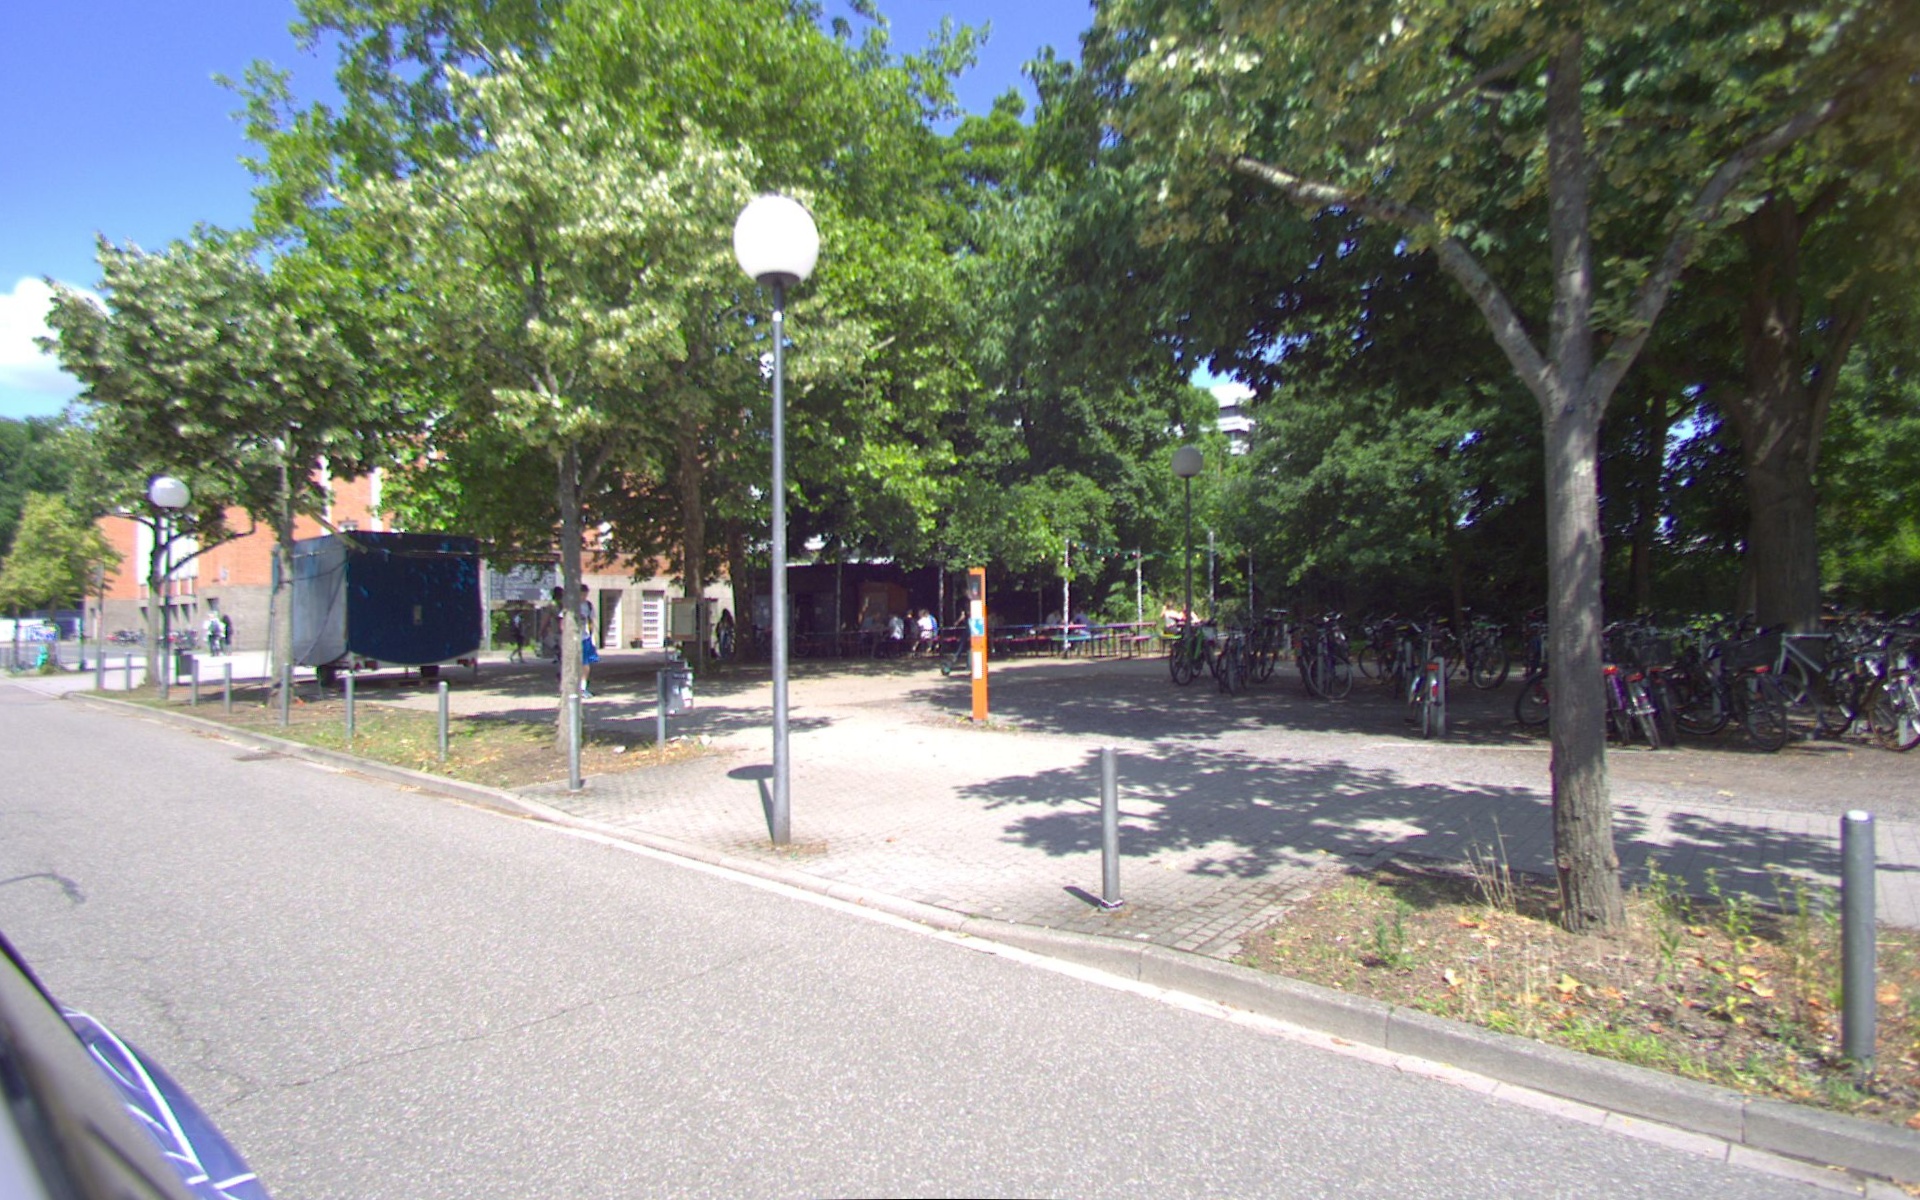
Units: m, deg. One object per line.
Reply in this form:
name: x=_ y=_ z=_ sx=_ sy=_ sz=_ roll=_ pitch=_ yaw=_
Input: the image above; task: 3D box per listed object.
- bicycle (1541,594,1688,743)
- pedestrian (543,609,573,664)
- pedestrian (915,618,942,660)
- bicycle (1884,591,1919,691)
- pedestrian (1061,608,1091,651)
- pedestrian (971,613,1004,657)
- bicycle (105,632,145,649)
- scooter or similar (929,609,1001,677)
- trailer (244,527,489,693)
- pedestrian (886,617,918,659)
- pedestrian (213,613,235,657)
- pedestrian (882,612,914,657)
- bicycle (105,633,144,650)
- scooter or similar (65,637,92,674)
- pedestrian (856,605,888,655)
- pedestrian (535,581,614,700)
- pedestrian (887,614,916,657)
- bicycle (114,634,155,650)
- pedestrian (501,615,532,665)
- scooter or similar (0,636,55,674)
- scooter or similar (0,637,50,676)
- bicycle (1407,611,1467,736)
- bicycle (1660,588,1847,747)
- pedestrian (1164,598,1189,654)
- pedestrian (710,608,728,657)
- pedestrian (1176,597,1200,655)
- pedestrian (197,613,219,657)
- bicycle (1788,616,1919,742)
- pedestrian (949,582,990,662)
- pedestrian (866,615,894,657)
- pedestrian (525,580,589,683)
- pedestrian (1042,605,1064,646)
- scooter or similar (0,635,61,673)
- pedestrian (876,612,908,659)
bicycle: x=6.135 y=0.580 z=9.611 sx=0.804 sy=1.244 sz=2.044 roll=-1 pitch=0 yaw=23
pedestrian: x=-12.652 y=1.146 z=31.843 sx=0.643 sy=1.678 sz=0.623 roll=-2 pitch=-1 yaw=42
pedestrian: x=-1.011 y=1.226 z=31.999 sx=0.559 sy=1.333 sz=0.638 roll=-2 pitch=-2 yaw=42
bicycle: x=12.265 y=0.500 z=12.114 sx=0.632 sy=1.244 sz=2.057 roll=-2 pitch=-1 yaw=6
pedestrian: x=3.296 y=0.833 z=28.833 sx=0.728 sy=1.203 sz=0.388 roll=-2 pitch=-1 yaw=32
pedestrian: x=0.806 y=1.015 z=29.383 sx=0.764 sy=1.260 sz=0.565 roll=-2 pitch=-1 yaw=30
bicycle: x=-53.311 y=2.556 z=64.637 sx=0.530 sy=1.038 sz=1.931 roll=-2 pitch=-1 yaw=40
scooter or similar: x=0.091 y=0.808 z=19.525 sx=1.241 sy=1.255 sz=0.691 roll=-2 pitch=0 yaw=41
trailer: x=-12.852 y=0.236 z=21.681 sx=6.263 sy=3.049 sz=2.668 roll=-2 pitch=0 yaw=41
pedestrian: x=-1.871 y=1.209 z=32.535 sx=0.778 sy=1.333 sz=0.680 roll=-2 pitch=-2 yaw=43
pedestrian: x=-30.910 y=1.465 z=42.512 sx=0.917 sy=1.793 sz=0.570 roll=-1 pitch=-1 yaw=41
pedestrian: x=-1.755 y=0.977 z=28.695 sx=0.734 sy=1.243 sz=0.594 roll=-3 pitch=-1 yaw=7
bicycle: x=-54.922 y=2.724 z=66.549 sx=0.518 sy=1.038 sz=1.931 roll=-2 pitch=-1 yaw=40
scooter or similar: x=-28.856 y=1.808 z=33.138 sx=0.556 sy=1.158 sz=1.352 roll=0 pitch=-1 yaw=-37
pedestrian: x=-2.483 y=0.845 z=28.611 sx=0.734 sy=1.379 sz=0.594 roll=-3 pitch=-1 yaw=7
pedestrian: x=-6.193 y=0.631 z=16.254 sx=0.986 sy=1.844 sz=0.791 roll=-2 pitch=-1 yaw=42
pedestrian: x=-1.794 y=1.079 z=31.135 sx=0.693 sy=1.281 sz=0.554 roll=-2 pitch=-1 yaw=42
bicycle: x=-51.917 y=2.650 z=63.688 sx=0.568 sy=0.948 sz=1.931 roll=-2 pitch=-1 yaw=40
pedestrian: x=-13.828 y=1.242 z=31.564 sx=0.499 sy=1.521 sz=0.735 roll=-2 pitch=-1 yaw=42
scooter or similar: x=-30.915 y=1.808 z=33.346 sx=1.548 sy=1.234 sz=0.567 roll=0 pitch=-1 yaw=-22
scooter or similar: x=-30.555 y=1.826 z=32.749 sx=1.548 sy=1.234 sz=0.526 roll=0 pitch=-1 yaw=-22
bicycle: x=4.813 y=0.695 z=10.268 sx=0.456 sy=1.140 sz=1.765 roll=-1 pitch=-1 yaw=23
bicycle: x=7.079 y=0.533 z=9.161 sx=0.804 sy=1.244 sz=2.044 roll=-1 pitch=1 yaw=23
pedestrian: x=5.683 y=0.679 z=26.558 sx=0.459 sy=1.433 sz=0.501 roll=-2 pitch=-1 yaw=31
pedestrian: x=-8.199 y=1.101 z=34.400 sx=0.407 sy=1.605 sz=0.606 roll=-2 pitch=0 yaw=-1
pedestrian: x=6.180 y=0.702 z=27.375 sx=0.472 sy=1.534 sz=0.502 roll=-2 pitch=-1 yaw=30
pedestrian: x=-31.244 y=1.453 z=42.059 sx=0.805 sy=1.775 sz=0.557 roll=-1 pitch=-1 yaw=41
bicycle: x=8.429 y=0.667 z=9.008 sx=0.671 sy=1.016 sz=2.146 roll=-1 pitch=-1 yaw=11
pedestrian: x=0.223 y=0.515 z=23.928 sx=0.805 sy=1.862 sz=0.524 roll=-2 pitch=-1 yaw=42
pedestrian: x=-2.514 y=1.136 z=31.788 sx=0.693 sy=1.281 sz=0.554 roll=-2 pitch=-1 yaw=42
pedestrian: x=-8.088 y=0.613 z=20.298 sx=0.906 sy=1.969 sz=0.894 roll=-3 pitch=1 yaw=-39
pedestrian: x=2.684 y=0.737 z=29.119 sx=0.505 sy=1.148 sz=0.333 roll=-2 pitch=-1 yaw=31
scooter or similar: x=-31.400 y=1.810 z=34.111 sx=1.548 sy=1.234 sz=0.572 roll=0 pitch=-1 yaw=-22
pedestrian: x=-1.874 y=0.975 z=28.083 sx=0.734 sy=1.243 sz=0.594 roll=-3 pitch=-1 yaw=7
